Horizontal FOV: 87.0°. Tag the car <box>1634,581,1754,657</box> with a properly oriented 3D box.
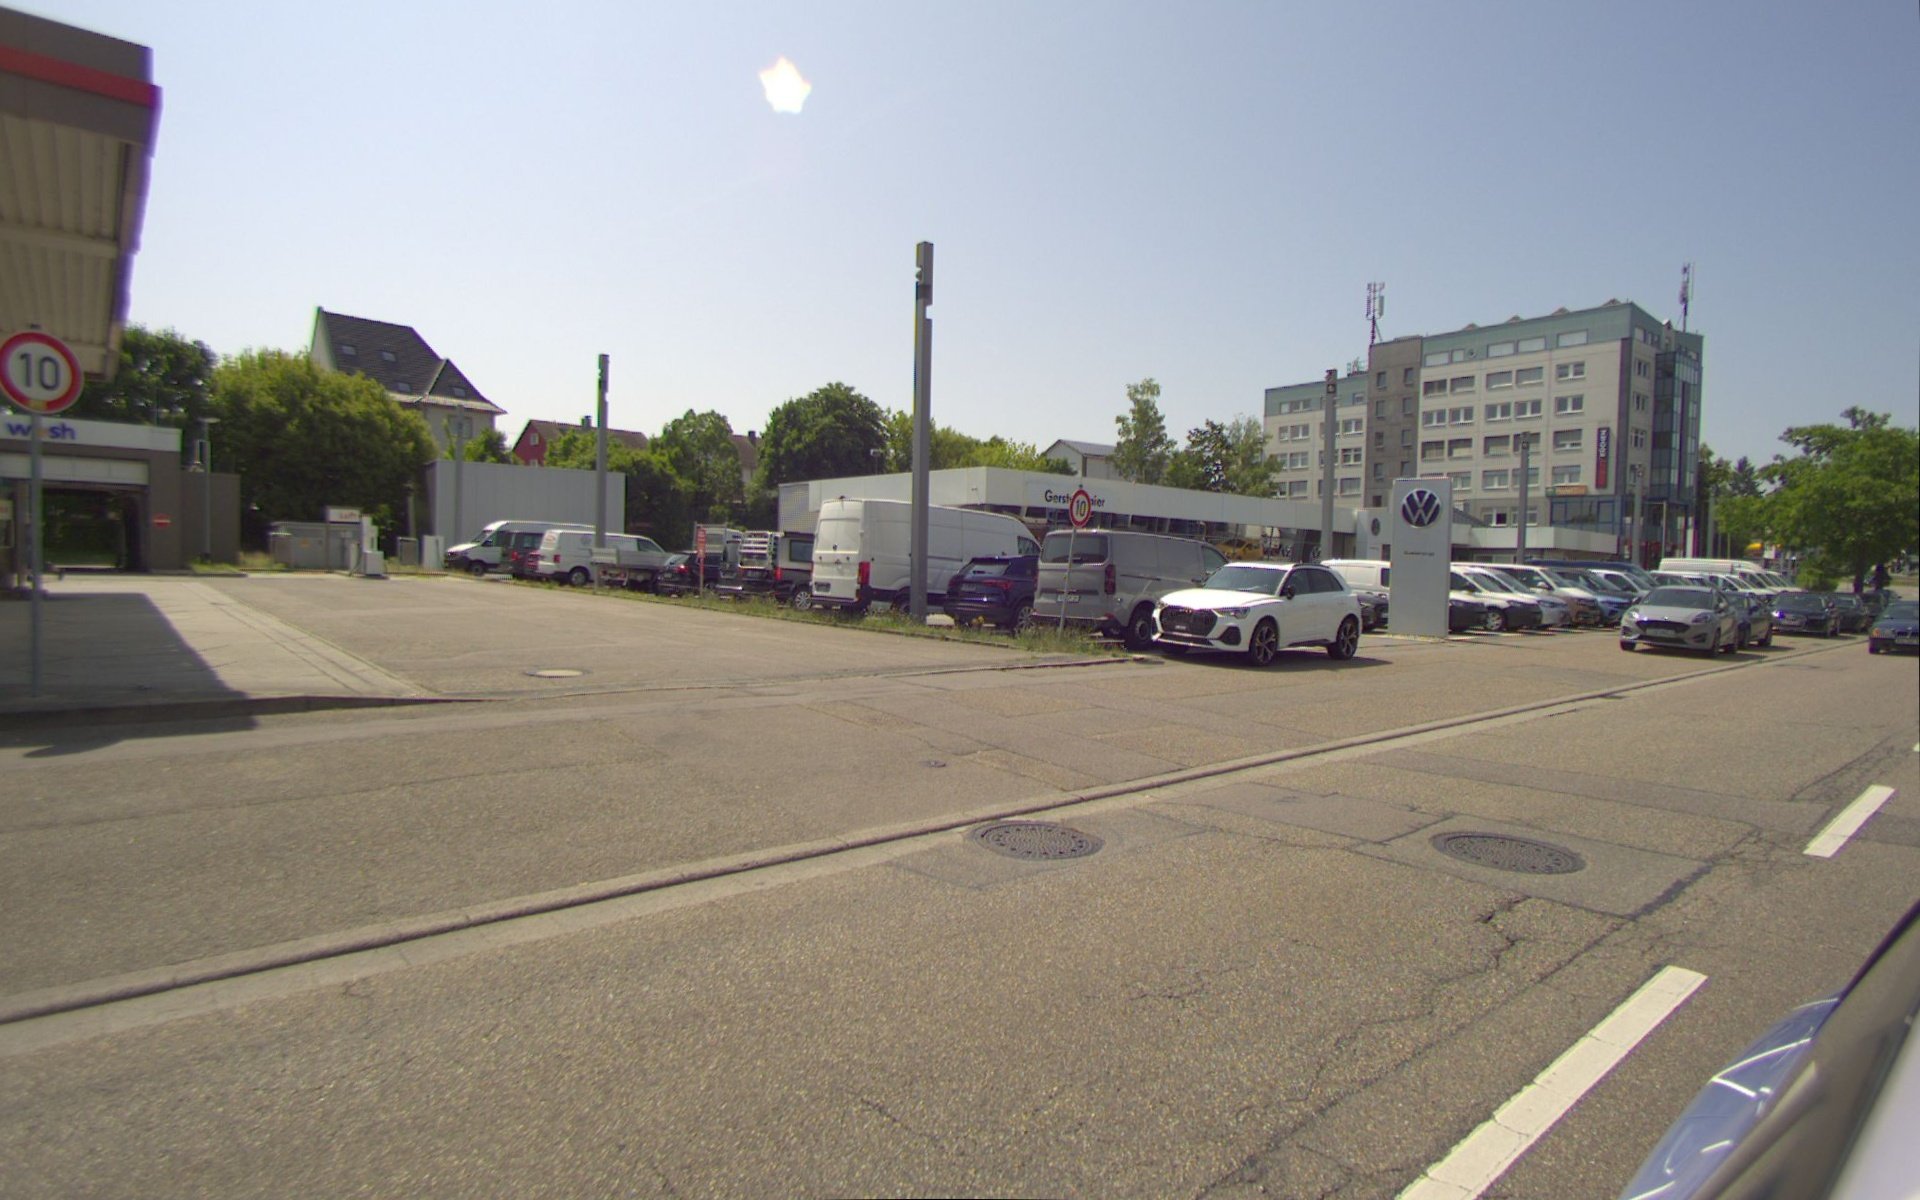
[{"bbox_3d":[17.010,0.369,23.383,1.732,1.571,4.115,2,2,43],"label":"car"}]

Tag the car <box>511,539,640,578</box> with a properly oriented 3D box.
[{"bbox_3d":[-14.703,-1.558,38.799,4.302,1.344,1.746,0,1,-42],"label":"car"}]

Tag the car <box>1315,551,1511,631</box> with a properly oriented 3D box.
[{"bbox_3d":[12.130,-0.318,27.332,1.877,1.905,4.420,-1,4,-42],"label":"car"}]

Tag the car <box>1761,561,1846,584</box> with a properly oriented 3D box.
[{"bbox_3d":[66.343,-2.156,79.684,4.687,1.734,1.985,0,2,24],"label":"car"}]

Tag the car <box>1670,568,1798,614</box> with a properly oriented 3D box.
[{"bbox_3d":[40.270,-0.526,52.765,2.123,2.139,4.956,0,3,-42],"label":"car"}]

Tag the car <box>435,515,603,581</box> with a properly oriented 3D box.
[{"bbox_3d":[-19.550,-2.319,45.105,6.545,2.727,1.997,-3,3,-42],"label":"car"}]

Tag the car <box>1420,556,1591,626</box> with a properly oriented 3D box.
[{"bbox_3d":[16.564,-0.343,30.880,1.850,1.801,4.158,-3,6,-42],"label":"car"}]

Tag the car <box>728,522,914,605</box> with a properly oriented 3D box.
[{"bbox_3d":[-3.537,-0.903,26.509,1.733,1.889,4.726,4,1,43],"label":"car"}]

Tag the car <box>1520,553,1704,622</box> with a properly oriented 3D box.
[{"bbox_3d":[26.063,-0.574,40.669,2.165,2.554,5.858,-2,3,-39],"label":"car"}]

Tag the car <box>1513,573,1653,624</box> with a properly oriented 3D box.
[{"bbox_3d":[20.923,-0.092,34.113,1.684,1.590,3.642,0,2,-36],"label":"car"}]

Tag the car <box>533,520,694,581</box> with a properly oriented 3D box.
[{"bbox_3d":[-12.465,-1.726,36.645,5.267,2.019,1.746,0,1,-42],"label":"car"}]

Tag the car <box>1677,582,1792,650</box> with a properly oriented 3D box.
[{"bbox_3d":[20.793,0.343,27.084,4.712,1.567,1.715,-1,4,-44],"label":"car"}]

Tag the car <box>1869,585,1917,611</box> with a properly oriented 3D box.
[{"bbox_3d":[54.064,-0.151,58.623,4.249,1.423,1.799,-2,2,-44],"label":"car"}]

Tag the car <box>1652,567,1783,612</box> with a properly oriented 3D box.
[{"bbox_3d":[38.190,-0.587,51.110,2.105,1.994,4.923,-1,4,-41],"label":"car"}]

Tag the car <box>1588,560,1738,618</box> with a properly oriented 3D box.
[{"bbox_3d":[30.196,-0.509,43.590,2.093,2.140,4.909,0,4,-42],"label":"car"}]

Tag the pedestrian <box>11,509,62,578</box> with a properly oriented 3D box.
[{"bbox_3d":[-23.115,-1.403,25.334,0.863,1.673,0.767,-3,3,-45],"label":"pedestrian"}]

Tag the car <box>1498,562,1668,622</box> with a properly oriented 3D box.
[{"bbox_3d":[22.321,-0.310,36.413,1.968,2.009,4.796,2,0,-41],"label":"car"}]

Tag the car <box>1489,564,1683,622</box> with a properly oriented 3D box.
[{"bbox_3d":[23.783,-0.346,38.708,2.219,2.038,5.907,-1,2,-39],"label":"car"}]

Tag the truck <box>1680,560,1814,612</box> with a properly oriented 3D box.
[{"bbox_3d":[42.347,-0.795,54.575,2.074,2.465,5.261,0,4,-40],"label":"truck"}]

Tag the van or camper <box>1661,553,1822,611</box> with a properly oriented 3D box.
[{"bbox_3d":[43.903,-1.082,57.034,2.236,2.933,6.809,0,3,-42],"label":"van or camper"}]

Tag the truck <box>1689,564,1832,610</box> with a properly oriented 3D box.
[{"bbox_3d":[47.296,-0.820,59.945,2.326,2.365,6.261,1,3,-40],"label":"truck"}]

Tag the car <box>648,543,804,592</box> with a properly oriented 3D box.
[{"bbox_3d":[-7.007,-0.936,30.530,4.302,1.374,1.746,0,1,-42],"label":"car"}]

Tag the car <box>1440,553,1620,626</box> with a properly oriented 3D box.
[{"bbox_3d":[18.453,-0.404,32.937,1.927,2.038,4.647,0,4,-43],"label":"car"}]

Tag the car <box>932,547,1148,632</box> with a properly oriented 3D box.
[{"bbox_3d":[1.705,-0.204,20.431,4.522,1.532,1.746,0,1,-42],"label":"car"}]

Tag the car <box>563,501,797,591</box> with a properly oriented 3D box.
[{"bbox_3d":[-8.831,-1.644,32.536,6.950,2.587,2.260,0,3,-42],"label":"car"}]

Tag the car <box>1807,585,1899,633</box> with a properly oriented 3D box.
[{"bbox_3d":[33.523,0.271,37.938,5.073,1.548,1.965,-1,5,-42],"label":"car"}]

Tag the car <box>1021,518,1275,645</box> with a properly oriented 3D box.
[{"bbox_3d":[3.599,-0.336,18.693,5.073,2.048,1.996,-1,1,-43],"label":"car"}]

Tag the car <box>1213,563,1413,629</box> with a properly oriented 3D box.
[{"bbox_3d":[9.139,-0.165,26.481,1.965,1.463,4.542,0,3,-41],"label":"car"}]

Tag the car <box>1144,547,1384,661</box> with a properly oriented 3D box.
[{"bbox_3d":[5.147,0.030,16.807,4.534,1.615,1.670,0,3,-42],"label":"car"}]

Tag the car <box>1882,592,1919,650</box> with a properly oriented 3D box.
[{"bbox_3d":[25.048,0.520,26.172,1.693,1.390,3.937,1,1,43],"label":"car"}]

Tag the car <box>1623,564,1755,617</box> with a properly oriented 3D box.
[{"bbox_3d":[34.067,-0.513,47.398,2.160,2.037,4.522,-2,7,-40],"label":"car"}]

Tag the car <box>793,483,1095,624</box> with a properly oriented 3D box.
[{"bbox_3d":[-0.154,-0.961,22.620,6.896,2.708,2.260,0,3,-42],"label":"car"}]

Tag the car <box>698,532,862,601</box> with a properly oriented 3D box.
[{"bbox_3d":[-4.996,-0.886,28.455,4.302,1.808,1.746,0,1,-42],"label":"car"}]

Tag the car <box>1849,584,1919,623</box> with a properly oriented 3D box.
[{"bbox_3d":[39.083,0.110,42.345,1.670,1.453,4.401,0,2,26],"label":"car"}]

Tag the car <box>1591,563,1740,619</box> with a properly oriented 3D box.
[{"bbox_3d":[31.673,-0.464,45.557,2.005,2.122,5.075,-1,5,-42],"label":"car"}]

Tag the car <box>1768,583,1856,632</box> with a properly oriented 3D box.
[{"bbox_3d":[29.107,0.185,34.517,1.856,1.499,5.073,3,3,45],"label":"car"}]

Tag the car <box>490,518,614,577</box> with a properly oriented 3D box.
[{"bbox_3d":[-16.343,-2.082,40.652,4.302,2.191,1.747,0,3,-42],"label":"car"}]

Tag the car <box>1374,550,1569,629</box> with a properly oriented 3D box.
[{"bbox_3d":[14.500,-0.349,28.896,1.826,1.911,4.561,1,3,-44],"label":"car"}]
